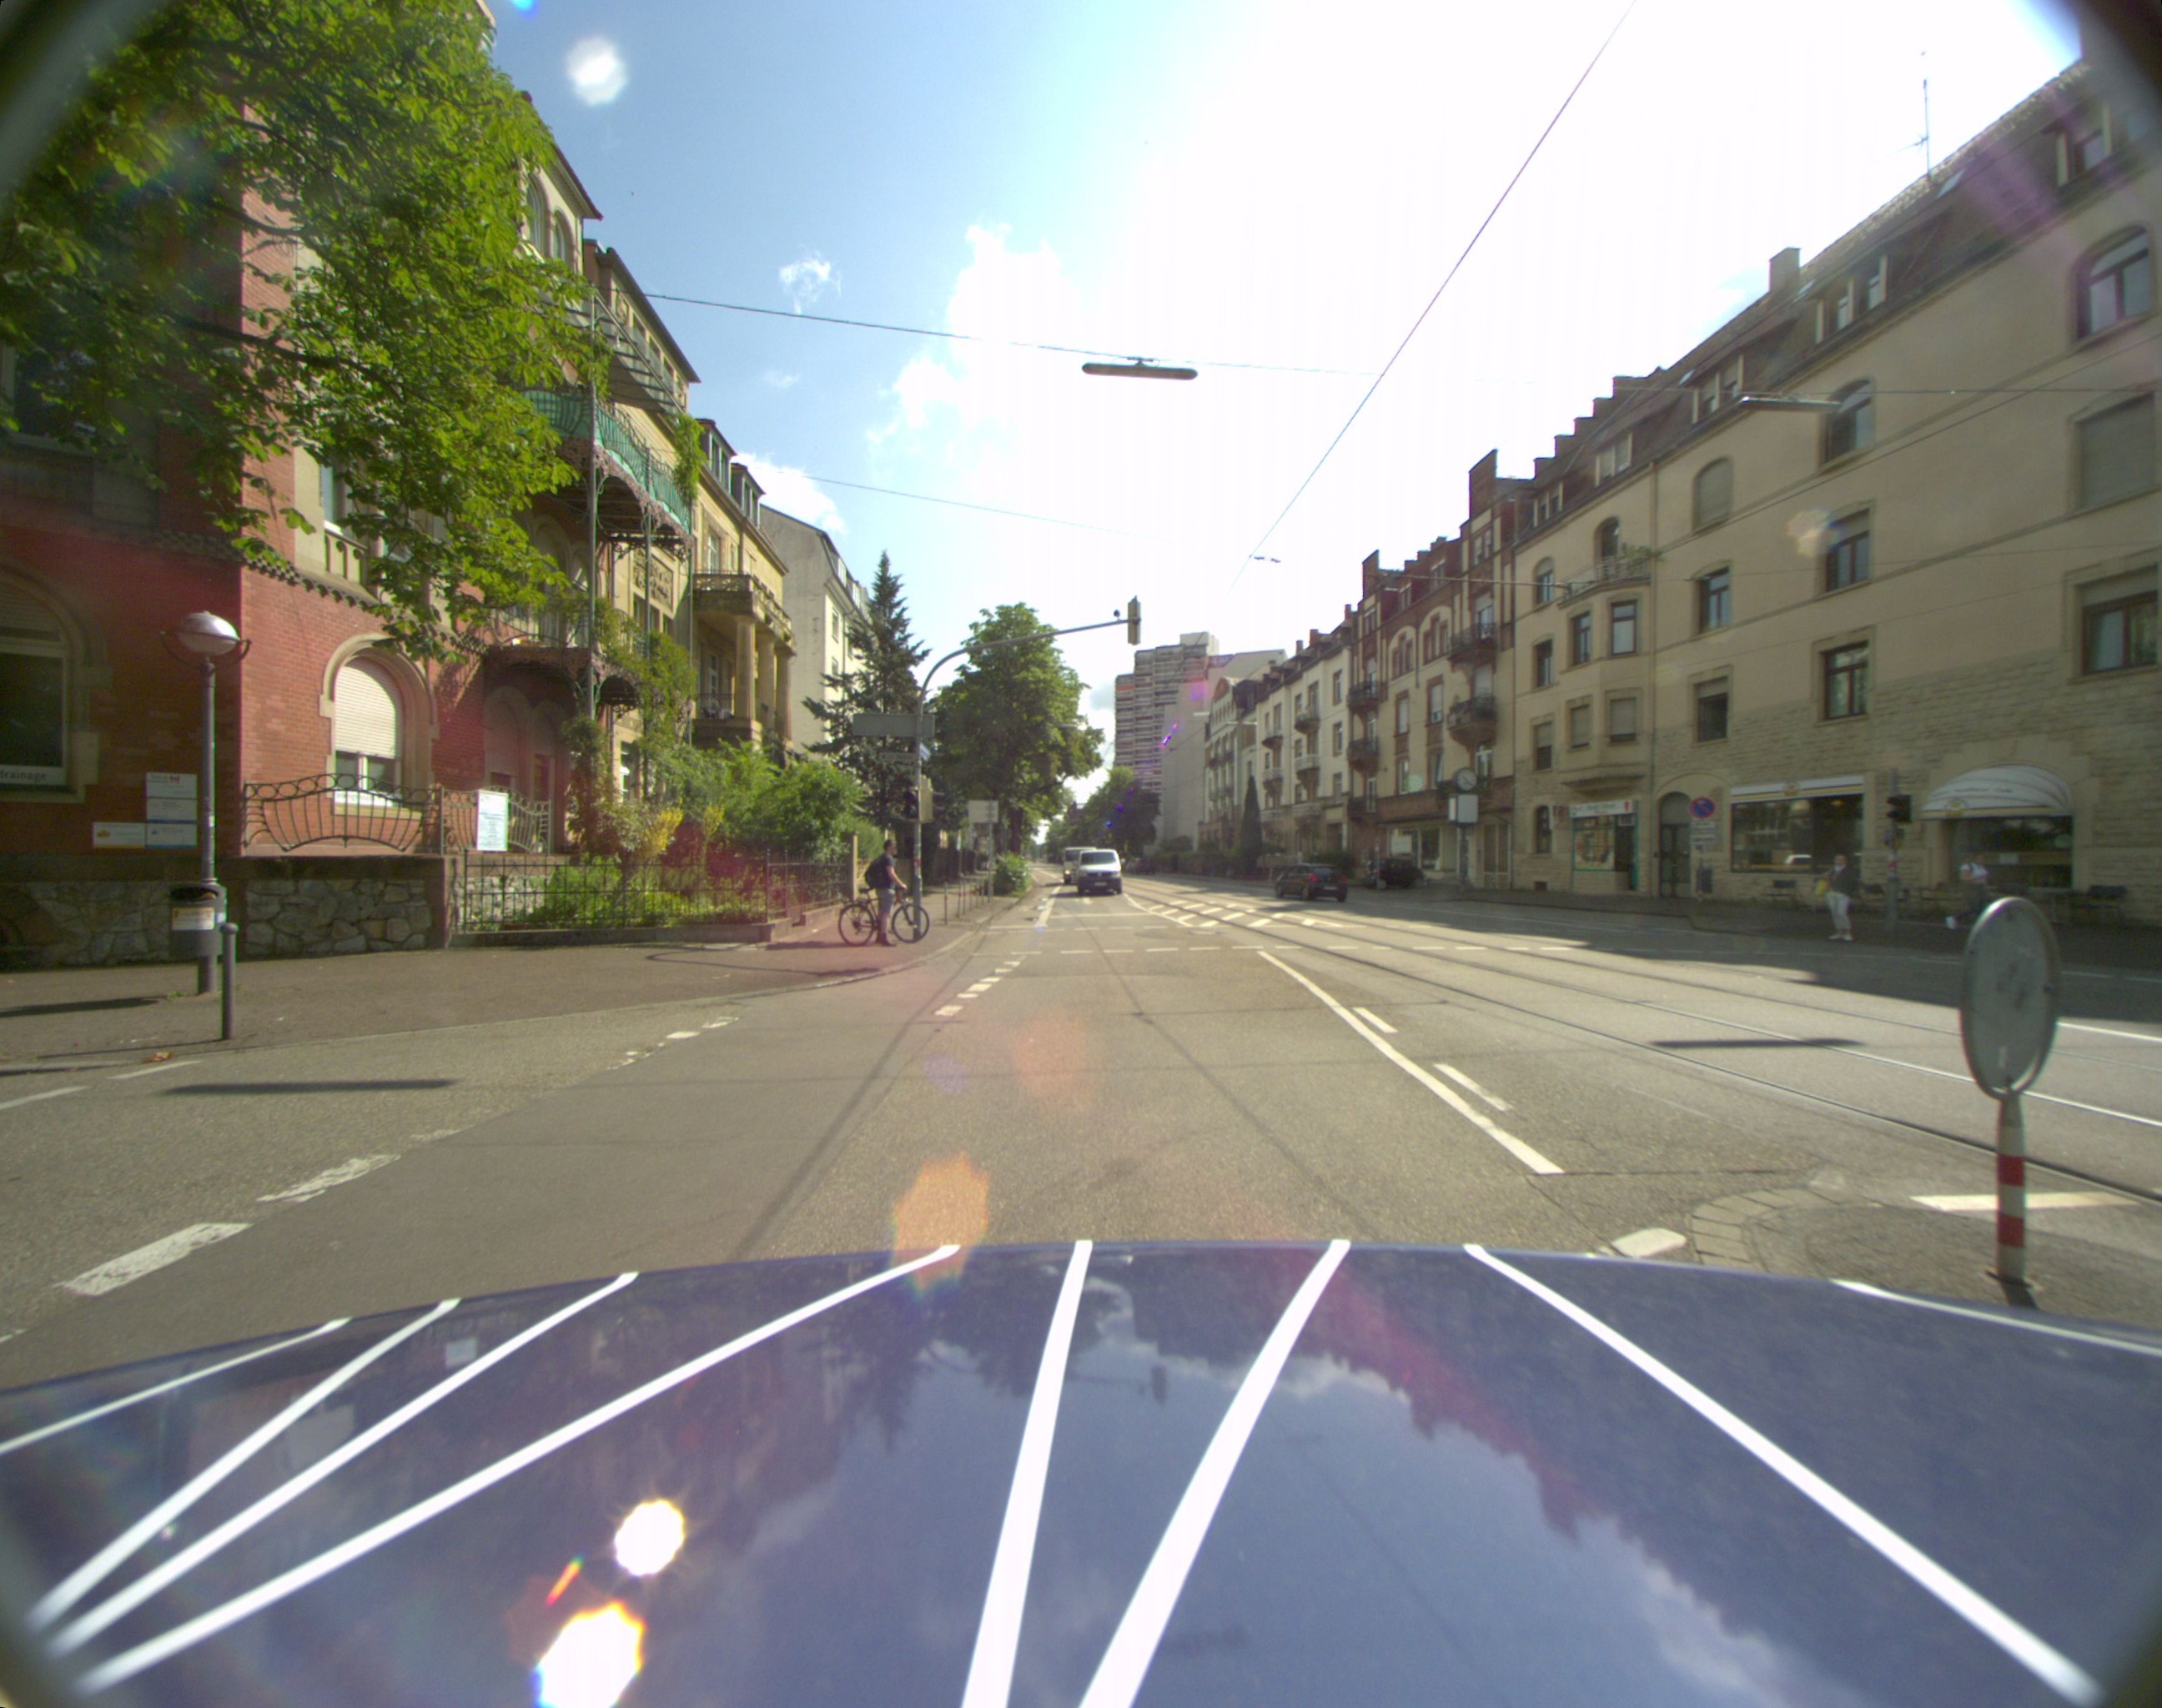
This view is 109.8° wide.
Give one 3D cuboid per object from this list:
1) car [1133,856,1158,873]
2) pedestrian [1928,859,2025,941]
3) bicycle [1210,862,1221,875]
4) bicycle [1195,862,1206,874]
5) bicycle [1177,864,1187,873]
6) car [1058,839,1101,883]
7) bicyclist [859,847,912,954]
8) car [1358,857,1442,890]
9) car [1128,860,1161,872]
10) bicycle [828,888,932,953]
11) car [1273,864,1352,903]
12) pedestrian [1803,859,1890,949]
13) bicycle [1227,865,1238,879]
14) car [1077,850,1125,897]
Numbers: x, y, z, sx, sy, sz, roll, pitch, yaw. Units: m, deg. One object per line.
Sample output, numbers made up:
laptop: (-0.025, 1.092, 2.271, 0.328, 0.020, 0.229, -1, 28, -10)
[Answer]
car: (6.595, 1.049, 78.305, 1.797, 1.701, 4.329, 0, 0, -5)
pedestrian: (17.695, 0.886, 15.039, 0.695, 1.532, 0.963, -4, 1, -4)
bicycle: (10.823, 1.170, 61.237, 0.540, 1.024, 1.872, 0, 1, 0)
bicycle: (10.335, 1.222, 65.714, 0.587, 0.980, 1.872, 0, 1, 0)
bicycle: (9.524, 1.340, 71.672, 0.587, 0.792, 1.872, -2, 1, 0)
car: (-0.166, 0.417, 46.600, 2.168, 2.572, 5.661, 0, 0, -5)
bicyclist: (-3.427, 0.783, 13.284, 0.736, 1.808, 0.819, 0, 0, -27)
car: (15.907, 0.943, 37.956, 3.454, 1.477, 1.706, -2, 0, -3)
car: (7.871, 1.493, 94.464, 3.890, 1.527, 1.634, 0, 0, -3)
bicycle: (-3.467, 1.122, 13.244, 0.389, 1.029, 1.849, 1, -1, 40)
car: (8.947, 1.106, 29.650, 1.630, 1.379, 3.433, 2, 0, -8)
pedestrian: (15.235, 0.970, 15.145, 0.758, 1.694, 0.873, -4, 1, -5)
bicycle: (11.048, 1.320, 55.484, 0.524, 0.901, 2.067, 0, 2, 3)
car: (0.803, 0.802, 33.188, 1.831, 1.855, 4.845, -1, 0, -2)
